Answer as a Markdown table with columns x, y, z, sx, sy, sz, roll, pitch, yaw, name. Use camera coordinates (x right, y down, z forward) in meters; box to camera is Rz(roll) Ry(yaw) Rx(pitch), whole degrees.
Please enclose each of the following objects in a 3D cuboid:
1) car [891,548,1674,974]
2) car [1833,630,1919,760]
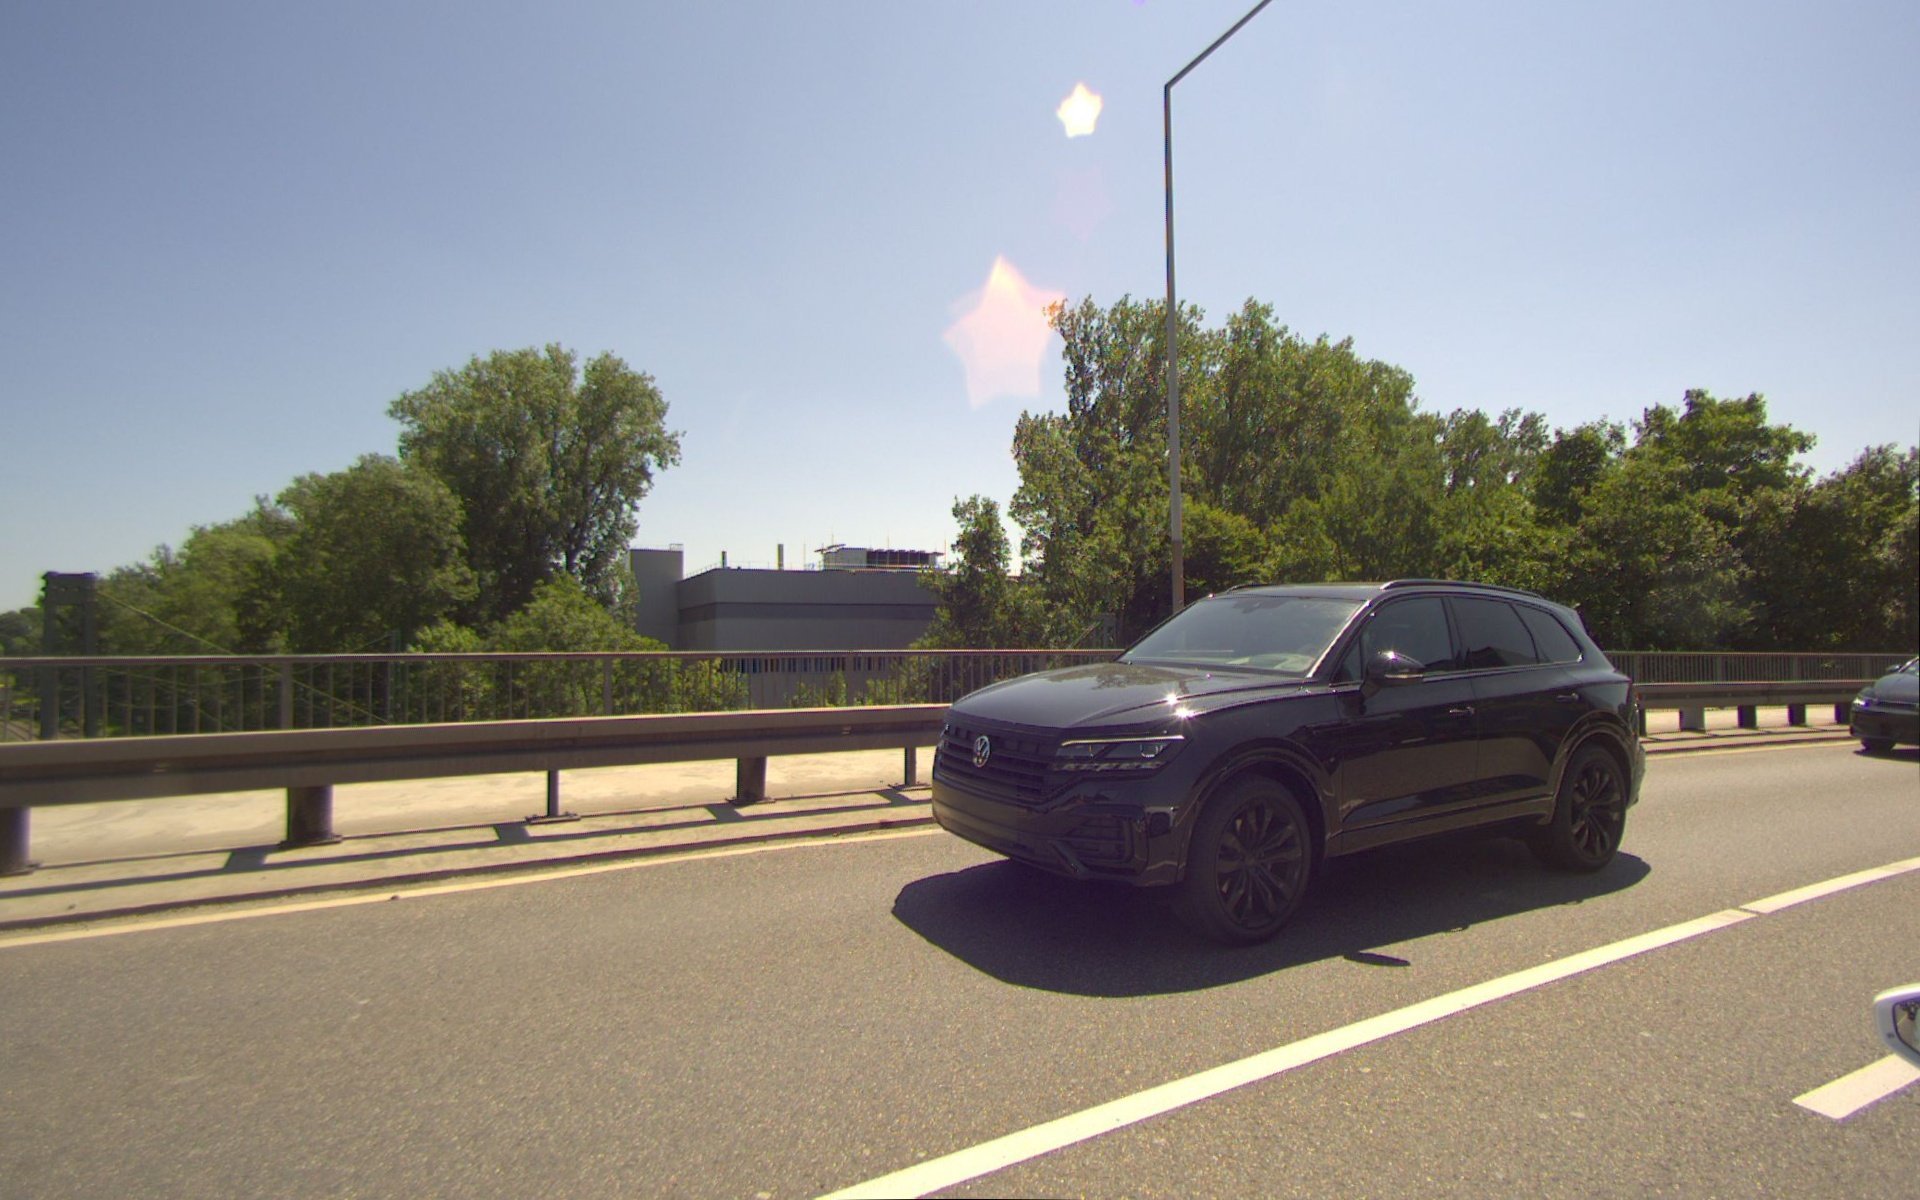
| x | y | z | sx | sy | sz | roll | pitch | yaw | name |
| --- | --- | --- | --- | --- | --- | --- | --- | --- | --- |
| 2.062 | 0.707 | 6.026 | 4.560 | 1.695 | 1.957 | 2 | -1 | -30 | car |
| 13.102 | 1.147 | 12.476 | 4.397 | 1.488 | 1.706 | 1 | -1 | -24 | car |
